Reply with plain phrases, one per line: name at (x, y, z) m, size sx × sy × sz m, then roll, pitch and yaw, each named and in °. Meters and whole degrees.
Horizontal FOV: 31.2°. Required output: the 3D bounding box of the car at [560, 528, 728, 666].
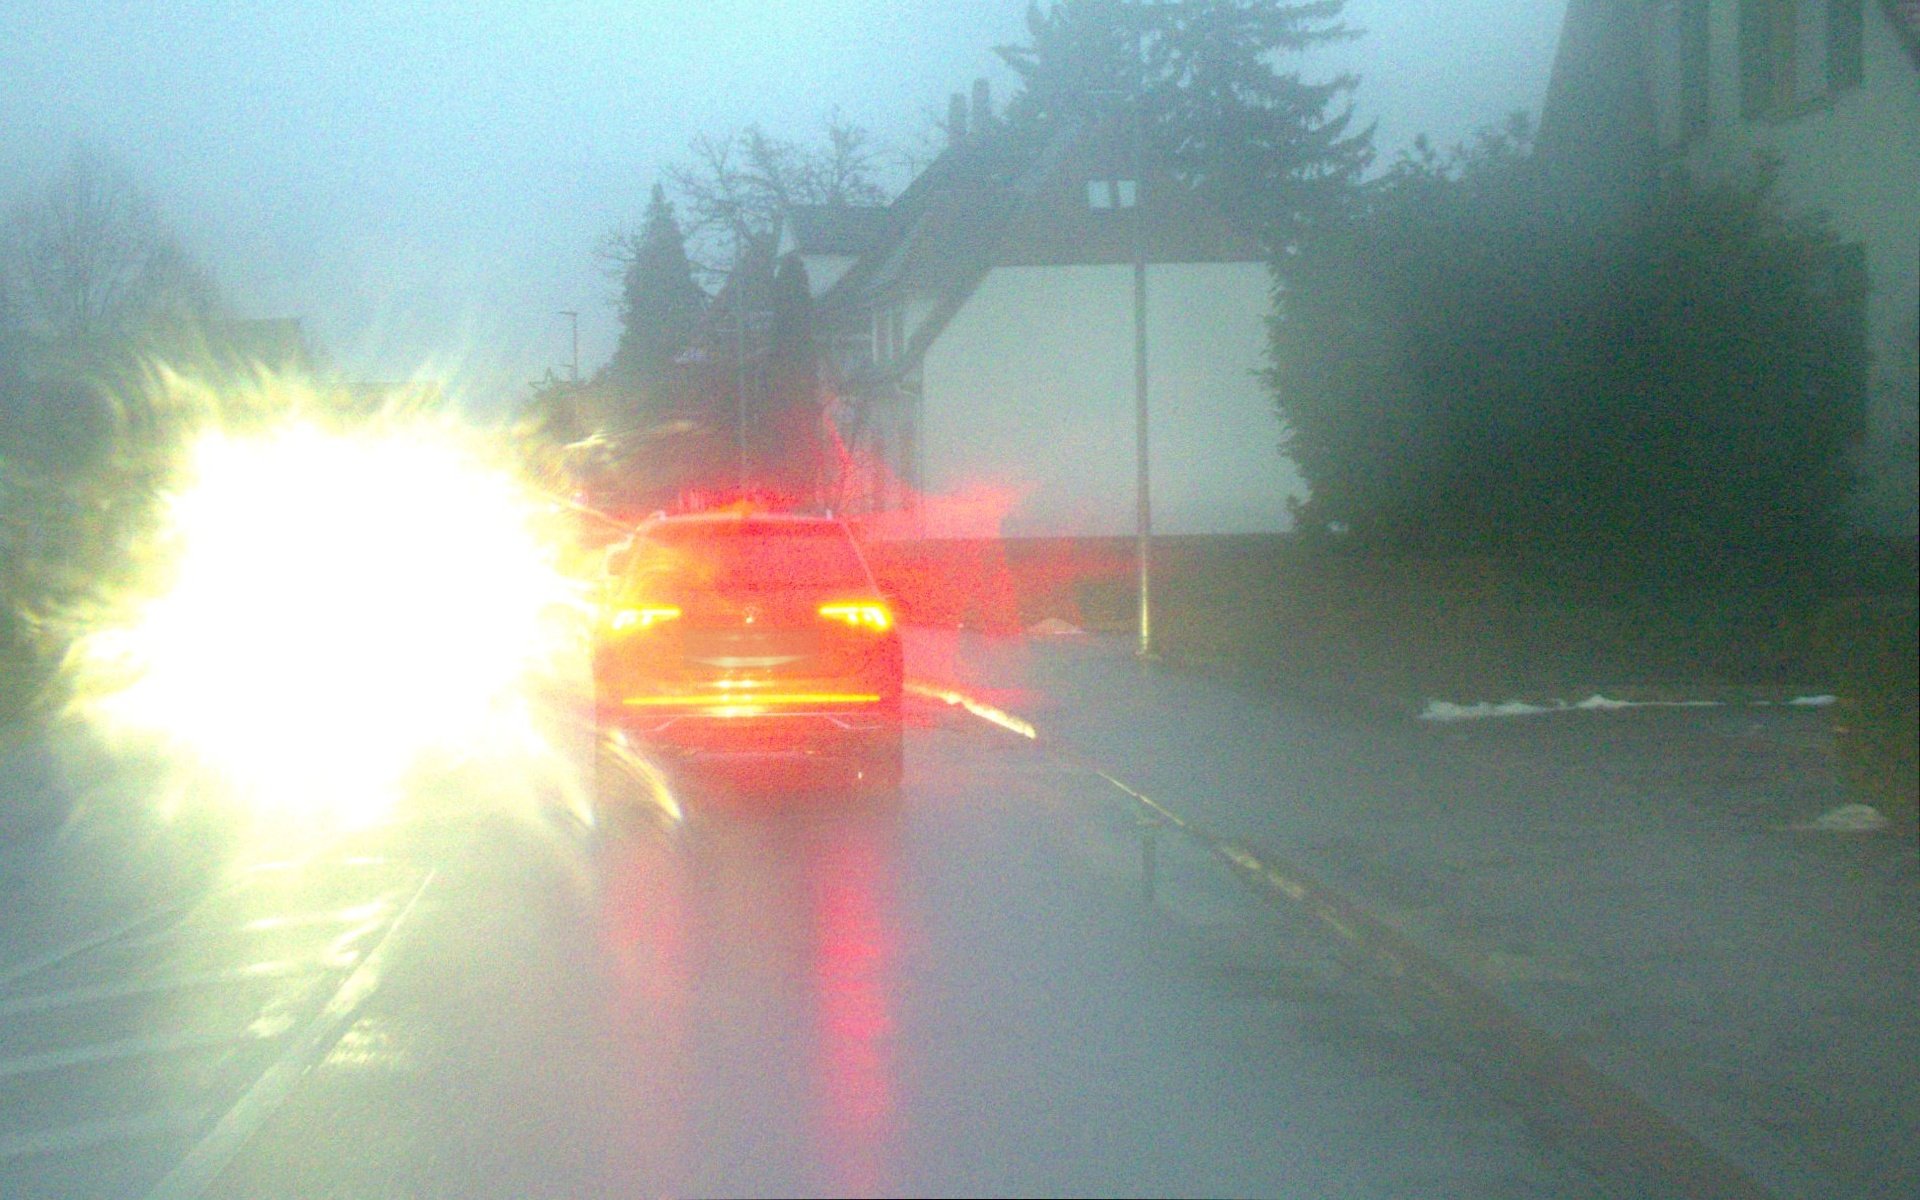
car at (-4.118, -0.080, 44.365) m, size 1.857 × 1.641 × 4.001 m, roll -1°, pitch 2°, yaw -9°

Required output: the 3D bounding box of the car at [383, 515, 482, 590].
car at (-14.365, -1.284, 93.395) m, size 2.309 × 1.932 × 5.019 m, roll -2°, pitch 1°, yaw -12°

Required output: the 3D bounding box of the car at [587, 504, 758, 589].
car at (-7.346, -1.370, 87.694) m, size 4.246 × 2.007 × 1.811 m, roll -2°, pitch 1°, yaw -6°

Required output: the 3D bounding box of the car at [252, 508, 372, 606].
car at (-11.126, -0.754, 59.192) m, size 1.823 × 1.548 × 4.001 m, roll -3°, pitch 2°, yaw -9°

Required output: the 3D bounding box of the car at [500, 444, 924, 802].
car at (-1.593, 0.092, 21.642) m, size 2.309 × 1.932 × 5.019 m, roll -1°, pitch 1°, yaw -5°

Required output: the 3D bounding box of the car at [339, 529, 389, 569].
car at (-24.938, -2.154, 143.948) m, size 1.912 × 1.517 × 4.002 m, roll -1°, pitch 3°, yaw -8°
